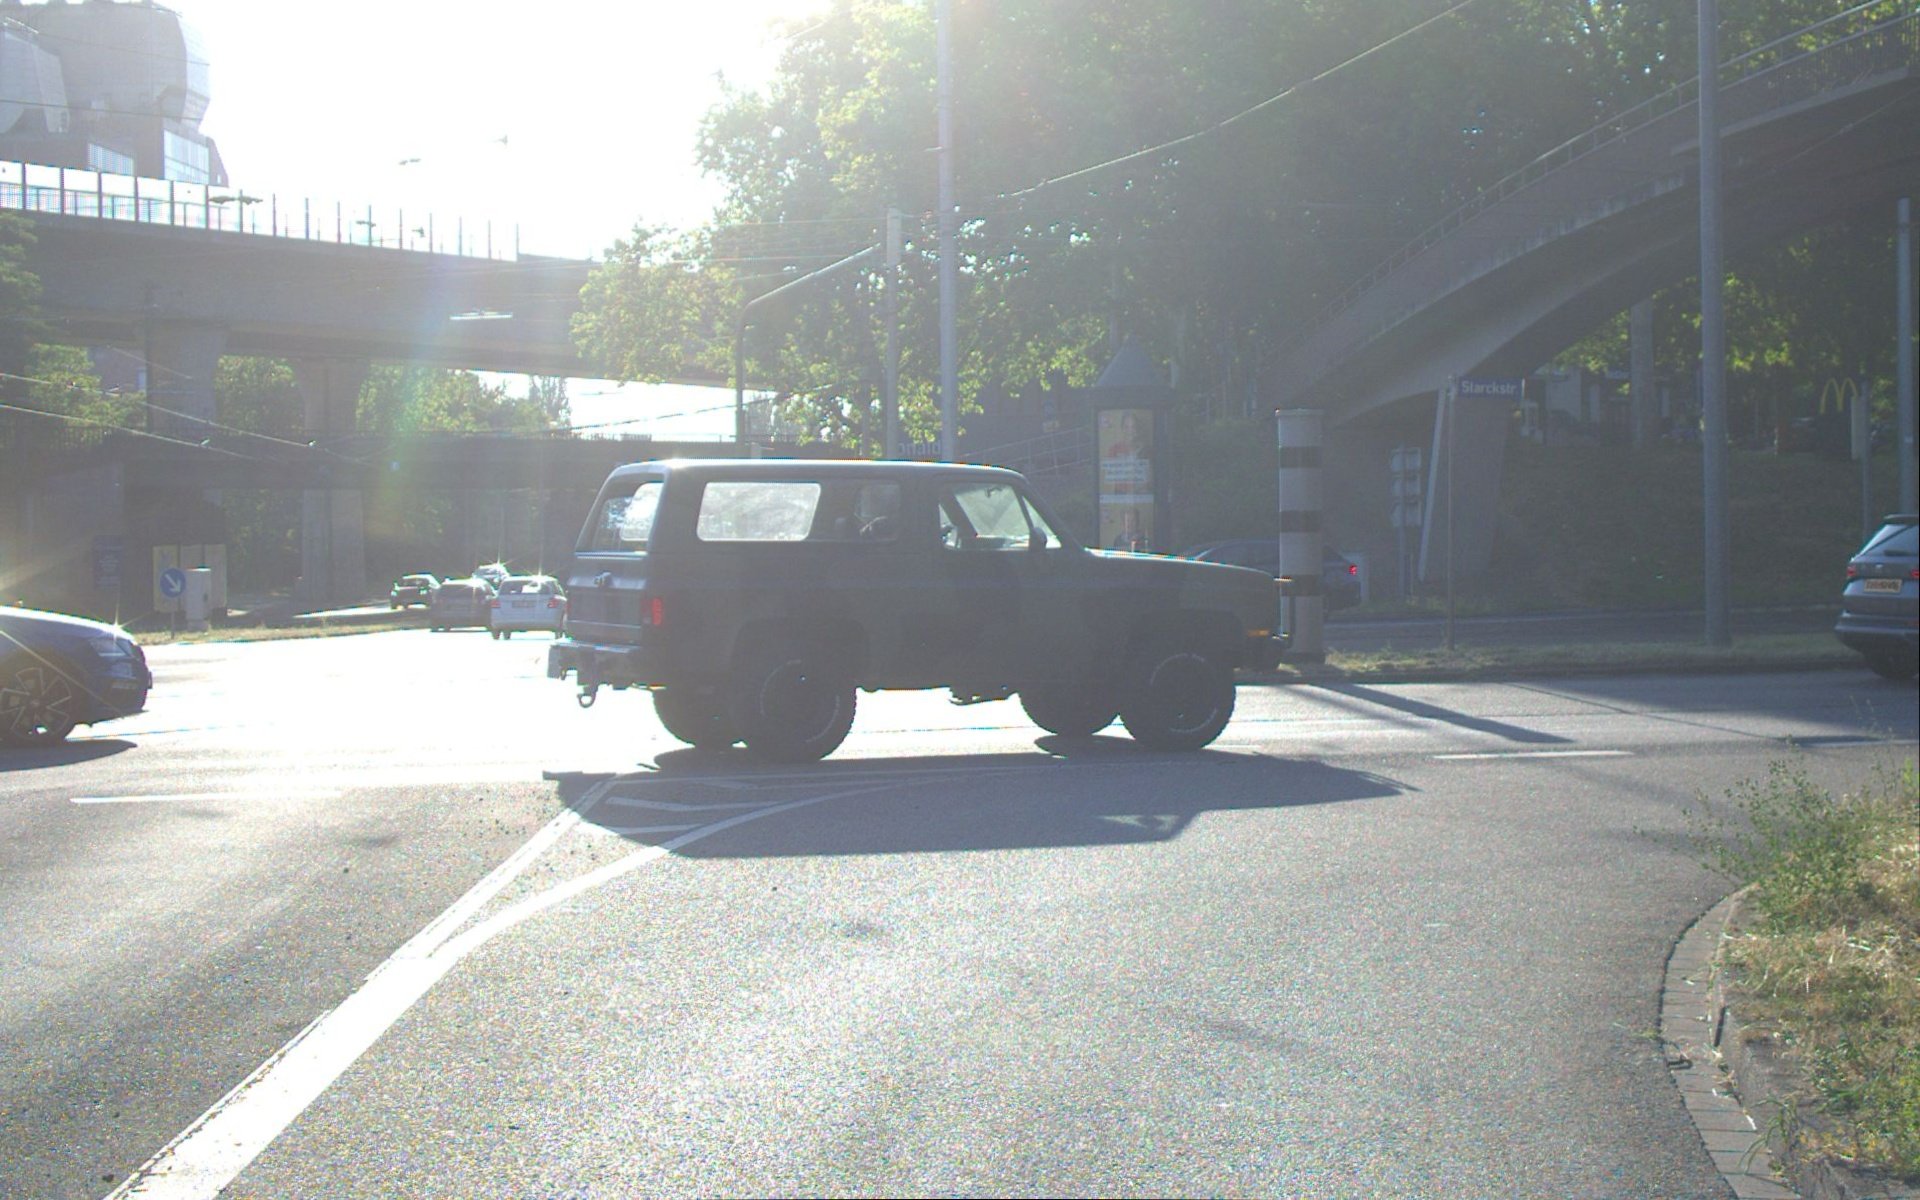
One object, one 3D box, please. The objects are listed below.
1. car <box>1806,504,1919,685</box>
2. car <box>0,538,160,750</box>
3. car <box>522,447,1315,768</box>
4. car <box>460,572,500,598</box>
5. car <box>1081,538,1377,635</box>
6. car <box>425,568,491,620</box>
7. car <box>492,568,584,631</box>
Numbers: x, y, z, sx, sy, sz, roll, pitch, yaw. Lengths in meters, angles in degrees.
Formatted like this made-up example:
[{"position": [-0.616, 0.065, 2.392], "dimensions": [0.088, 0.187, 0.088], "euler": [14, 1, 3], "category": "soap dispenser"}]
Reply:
[{"position": [9.985, -0.068, 31.287], "dimensions": [4.234, 1.569, 1.694], "euler": [0, 1, -22], "category": "car"}, {"position": [-8.048, 0.296, 23.991], "dimensions": [4.609, 1.454, 1.694], "euler": [0, 1, -21], "category": "car"}, {"position": [-0.282, 0.025, 23.134], "dimensions": [4.926, 1.984, 2.038], "euler": [0, 1, -22], "category": "car"}, {"position": [-26.791, -0.833, 192.082], "dimensions": [1.606, 1.414, 4.008], "euler": [0, 1, 1], "category": "car"}, {"position": [4.449, -0.220, 57.002], "dimensions": [4.574, 1.569, 1.694], "euler": [0, 1, -17], "category": "car"}, {"position": [-14.355, -0.193, 98.526], "dimensions": [1.665, 1.400, 4.446], "euler": [0, 1, -6], "category": "car"}, {"position": [-9.939, -0.030, 81.207], "dimensions": [1.665, 1.400, 4.197], "euler": [0, 1, 0], "category": "car"}]
